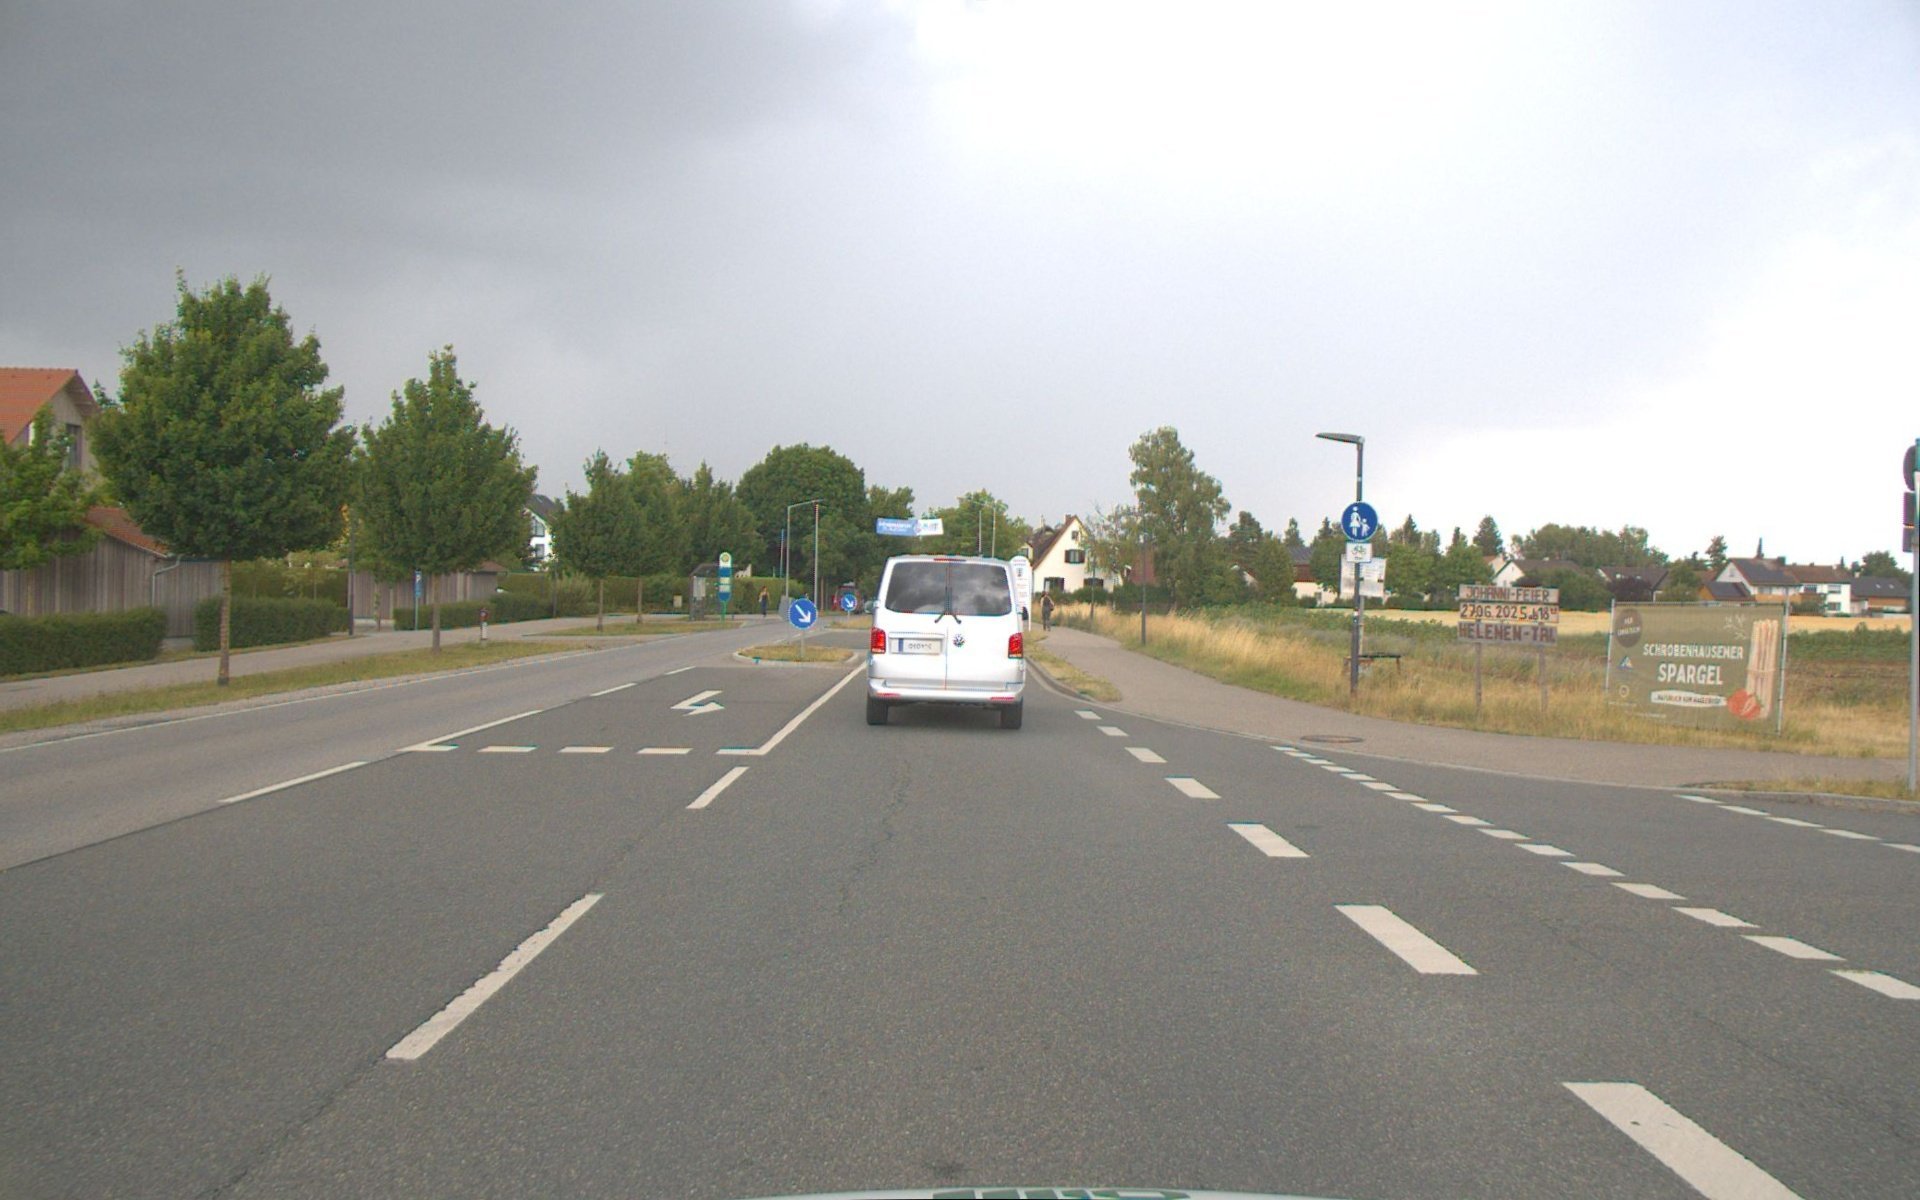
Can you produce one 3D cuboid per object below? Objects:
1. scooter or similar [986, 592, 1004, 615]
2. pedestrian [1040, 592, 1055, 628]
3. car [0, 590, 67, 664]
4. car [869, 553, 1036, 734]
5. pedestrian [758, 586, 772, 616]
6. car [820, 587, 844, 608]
[{"bbox_3d":[1.737,0.181,81.486,0.831,1.123,1.094,-1,0,-1],"label":"scooter or similar"},{"bbox_3d":[3.818,0.417,72.042,0.611,1.551,0.679,-1,0,-1],"label":"pedestrian"},{"bbox_3d":[-23.024,0.545,37.957,3.905,1.583,2.000,2,1,0],"label":"car"},{"bbox_3d":[-0.161,0.460,20.322,1.789,1.947,3.998,2,0,-2],"label":"car"},{"bbox_3d":[-10.144,0.033,86.067,0.611,1.551,0.679,-1,0,-1],"label":"pedestrian"},{"bbox_3d":[-9.491,-0.203,122.780,1.620,1.454,3.601,-1,1,-1],"label":"car"}]
